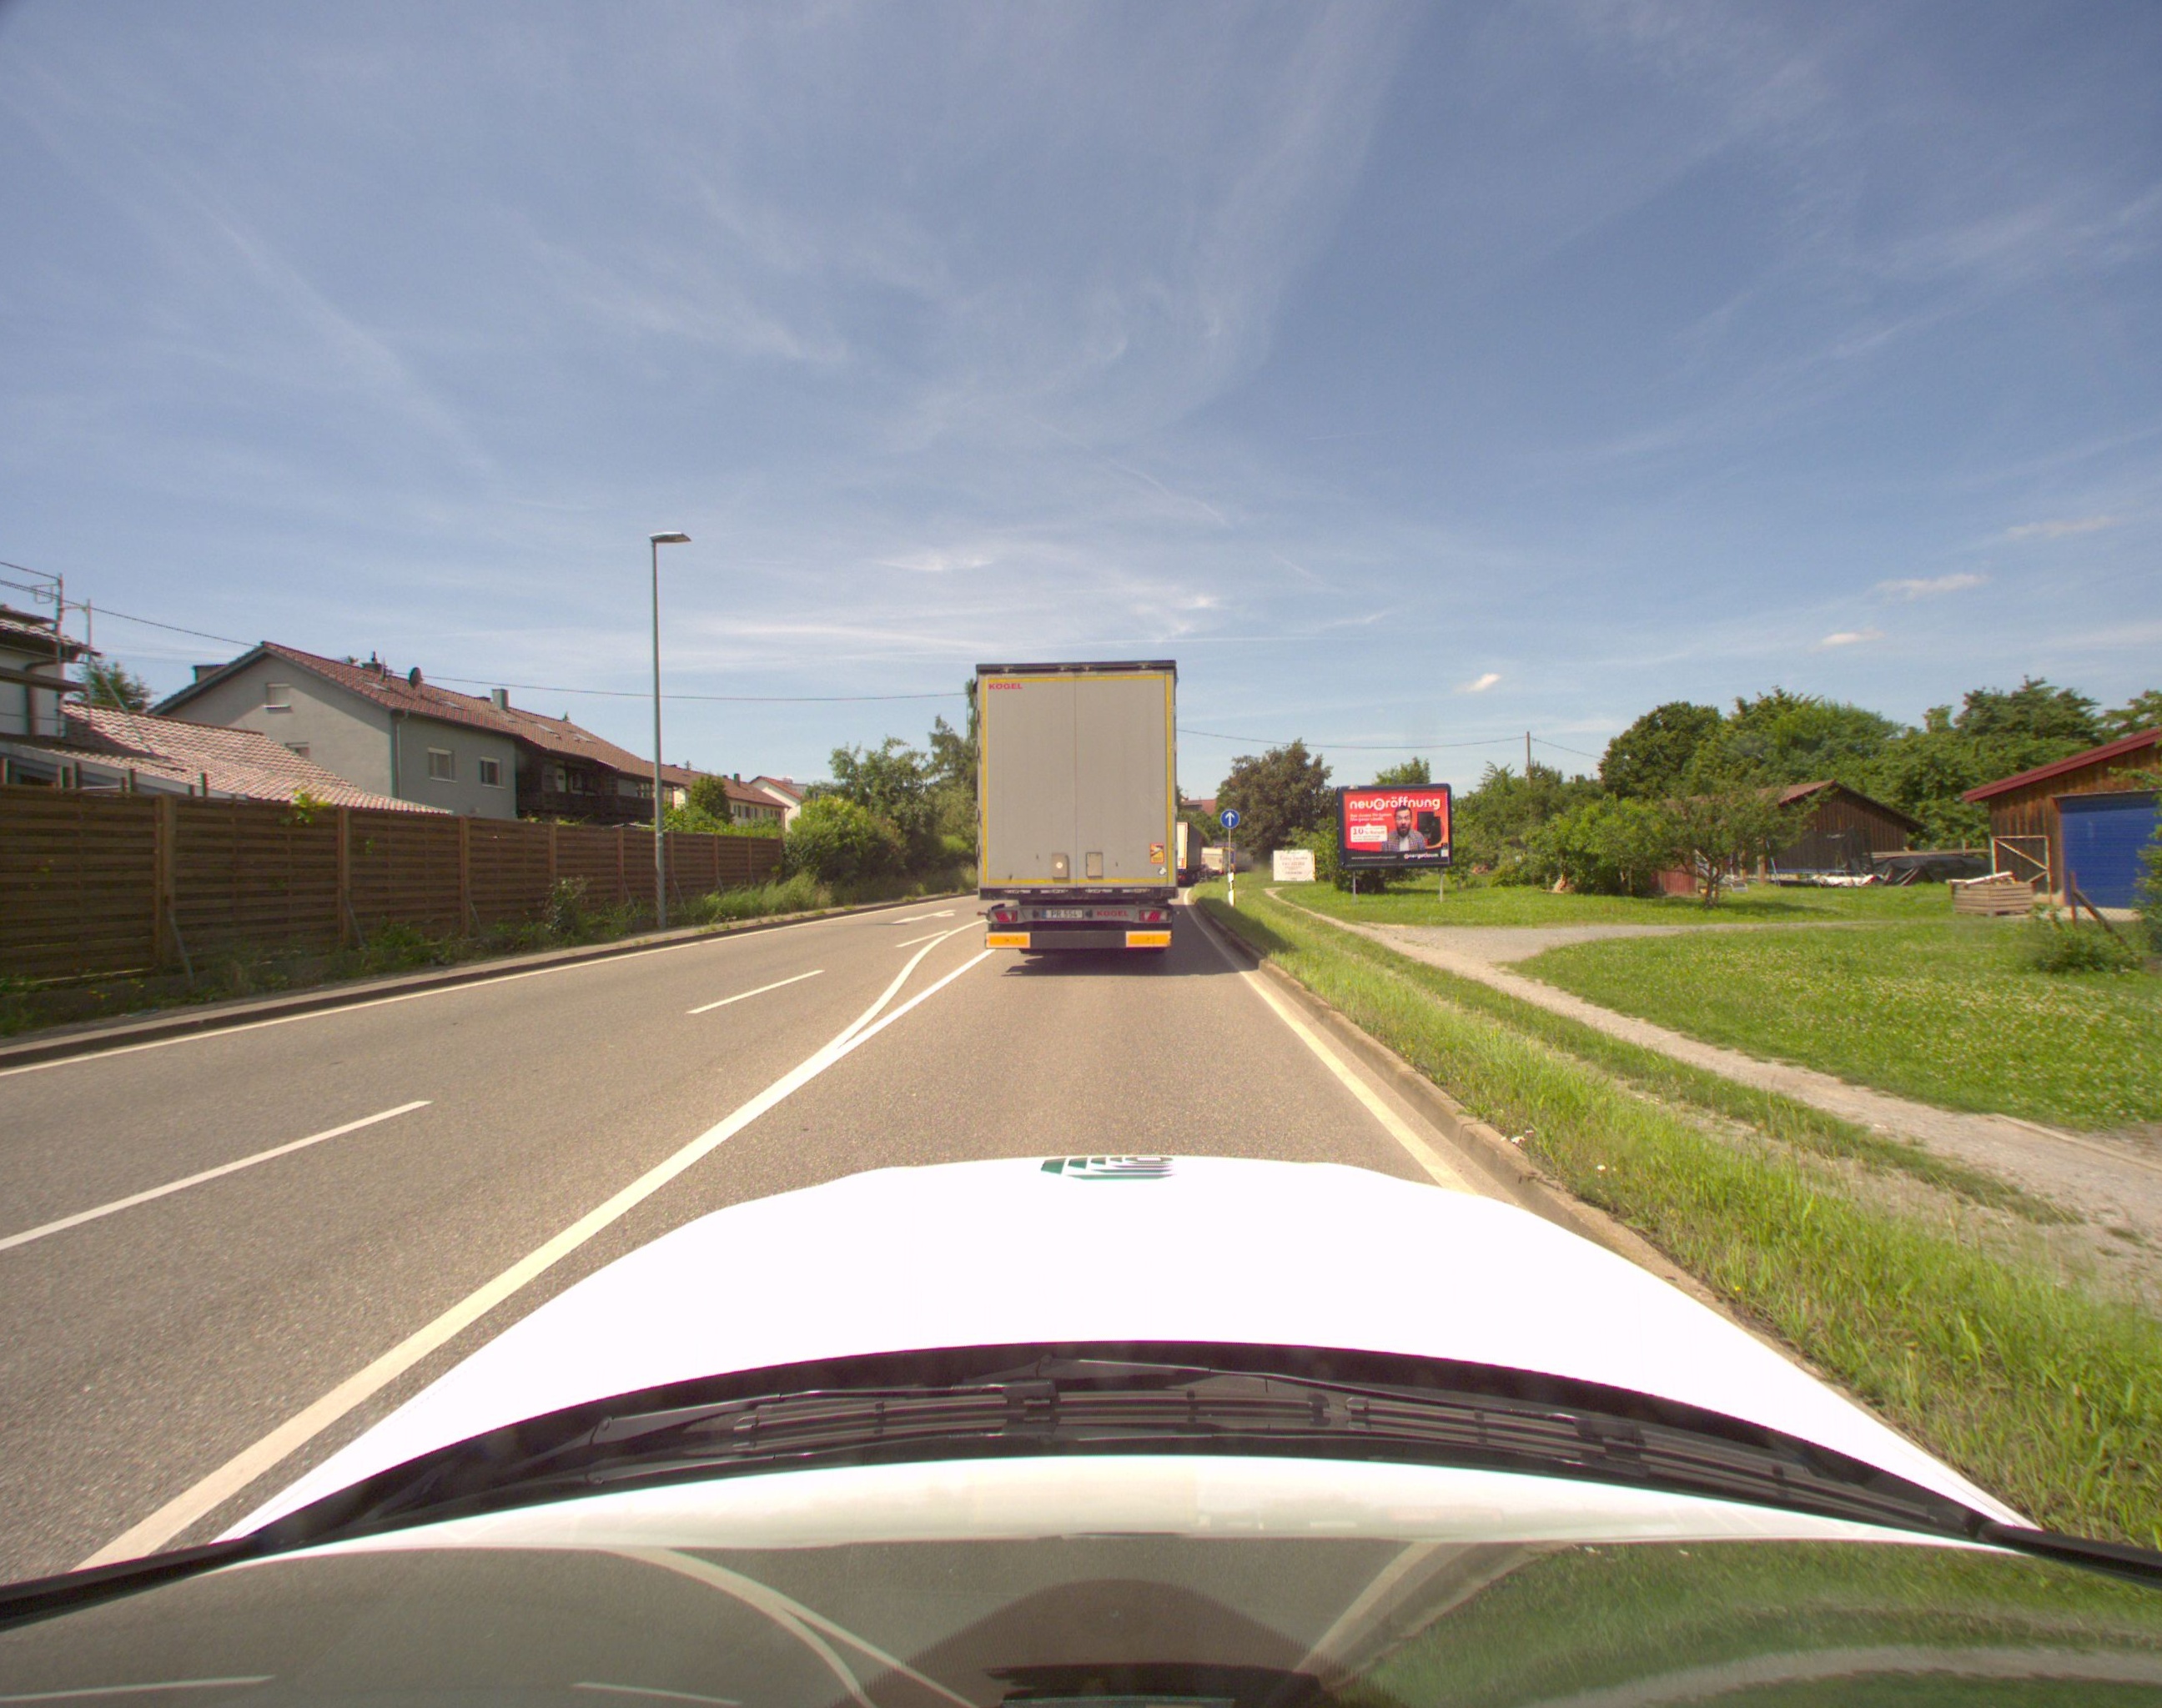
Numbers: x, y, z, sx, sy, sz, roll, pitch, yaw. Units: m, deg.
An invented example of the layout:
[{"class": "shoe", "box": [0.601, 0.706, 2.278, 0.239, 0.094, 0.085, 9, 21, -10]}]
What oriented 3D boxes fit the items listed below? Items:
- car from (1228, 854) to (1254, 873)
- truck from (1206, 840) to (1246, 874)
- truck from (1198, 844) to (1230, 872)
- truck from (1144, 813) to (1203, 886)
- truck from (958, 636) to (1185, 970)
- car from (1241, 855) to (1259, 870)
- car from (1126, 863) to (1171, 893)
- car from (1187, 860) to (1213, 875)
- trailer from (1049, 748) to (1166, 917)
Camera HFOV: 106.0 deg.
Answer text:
[{"class": "car", "box": [19.907, 1.198, 101.166, 2.512, 2.277, 6.410, 0, 0, 18]}, {"class": "truck", "box": [16.654, 0.298, 93.068, 3.406, 3.604, 9.396, -1, 0, 17]}, {"class": "truck", "box": [13.615, 0.459, 83.015, 2.524, 2.803, 6.057, -1, -1, 16]}, {"class": "truck", "box": [6.689, -0.124, 56.571, 2.742, 4.289, 16.464, 0, -1, 11]}, {"class": "truck", "box": [0.305, -0.626, 15.852, 2.809, 4.127, 11.457, 0, 0, 4]}, {"class": "car", "box": [22.909, 1.164, 110.367, 1.978, 2.014, 4.018, -1, -1, 18]}, {"class": "car", "box": [3.242, 1.097, 38.688, 1.808, 1.346, 3.857, 0, -1, 9]}, {"class": "car", "box": [10.967, 1.236, 75.167, 1.979, 1.376, 4.015, 0, -1, 14]}, {"class": "trailer", "box": [0.875, -0.527, 23.253, 2.812, 4.111, 6.551, -1, 0, 4]}]
